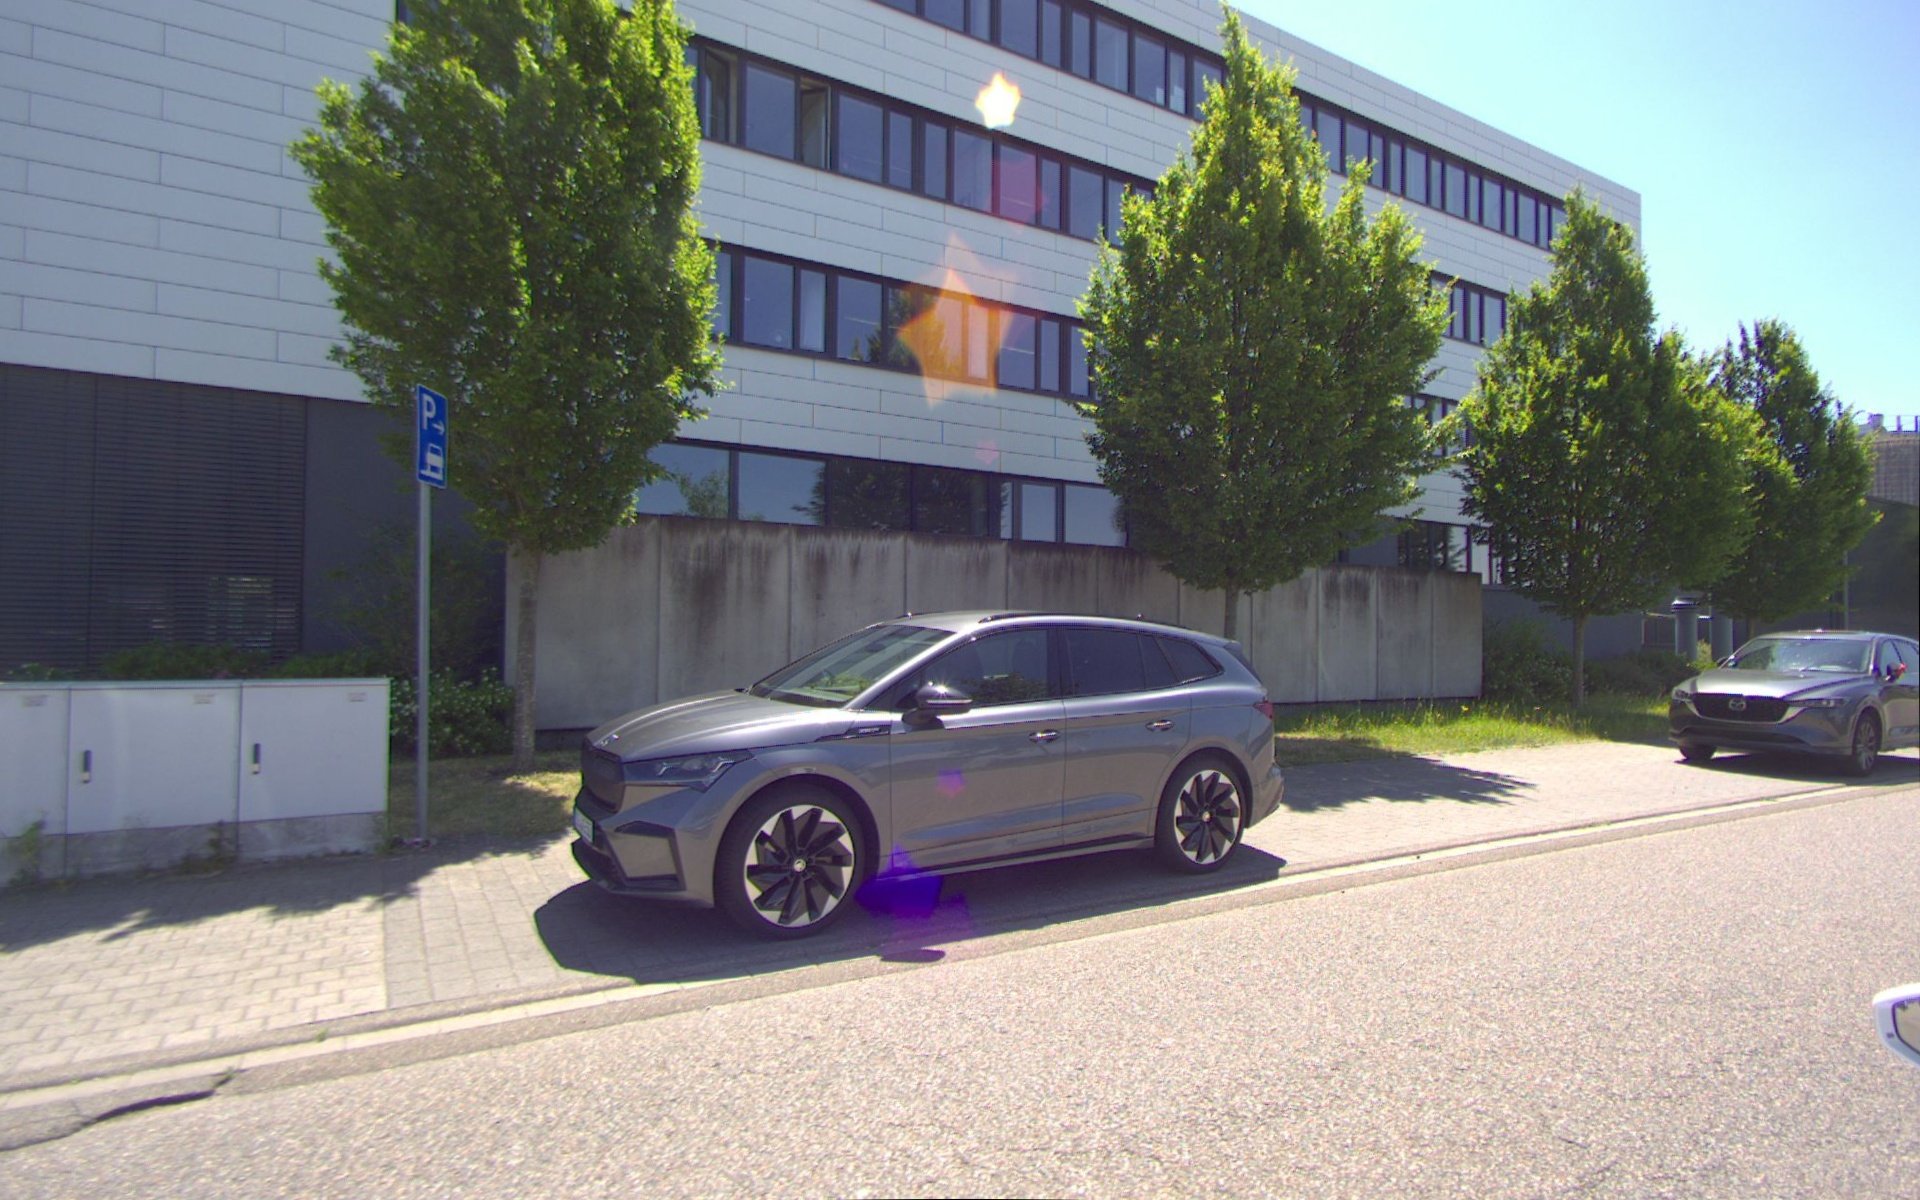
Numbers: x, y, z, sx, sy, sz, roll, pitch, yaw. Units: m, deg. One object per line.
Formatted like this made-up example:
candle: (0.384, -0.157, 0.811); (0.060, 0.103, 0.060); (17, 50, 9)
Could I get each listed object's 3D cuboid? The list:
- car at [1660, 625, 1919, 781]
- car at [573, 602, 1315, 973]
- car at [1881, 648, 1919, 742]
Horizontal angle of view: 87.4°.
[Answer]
car: (10.917, 1.206, 12.718); (4.532, 1.645, 1.761); (2, -2, -32)
car: (0.074, 0.873, 6.327); (4.433, 1.609, 1.761); (1, -1, -33)
car: (16.809, 1.546, 16.279); (4.155, 1.450, 1.761); (2, -2, -32)
